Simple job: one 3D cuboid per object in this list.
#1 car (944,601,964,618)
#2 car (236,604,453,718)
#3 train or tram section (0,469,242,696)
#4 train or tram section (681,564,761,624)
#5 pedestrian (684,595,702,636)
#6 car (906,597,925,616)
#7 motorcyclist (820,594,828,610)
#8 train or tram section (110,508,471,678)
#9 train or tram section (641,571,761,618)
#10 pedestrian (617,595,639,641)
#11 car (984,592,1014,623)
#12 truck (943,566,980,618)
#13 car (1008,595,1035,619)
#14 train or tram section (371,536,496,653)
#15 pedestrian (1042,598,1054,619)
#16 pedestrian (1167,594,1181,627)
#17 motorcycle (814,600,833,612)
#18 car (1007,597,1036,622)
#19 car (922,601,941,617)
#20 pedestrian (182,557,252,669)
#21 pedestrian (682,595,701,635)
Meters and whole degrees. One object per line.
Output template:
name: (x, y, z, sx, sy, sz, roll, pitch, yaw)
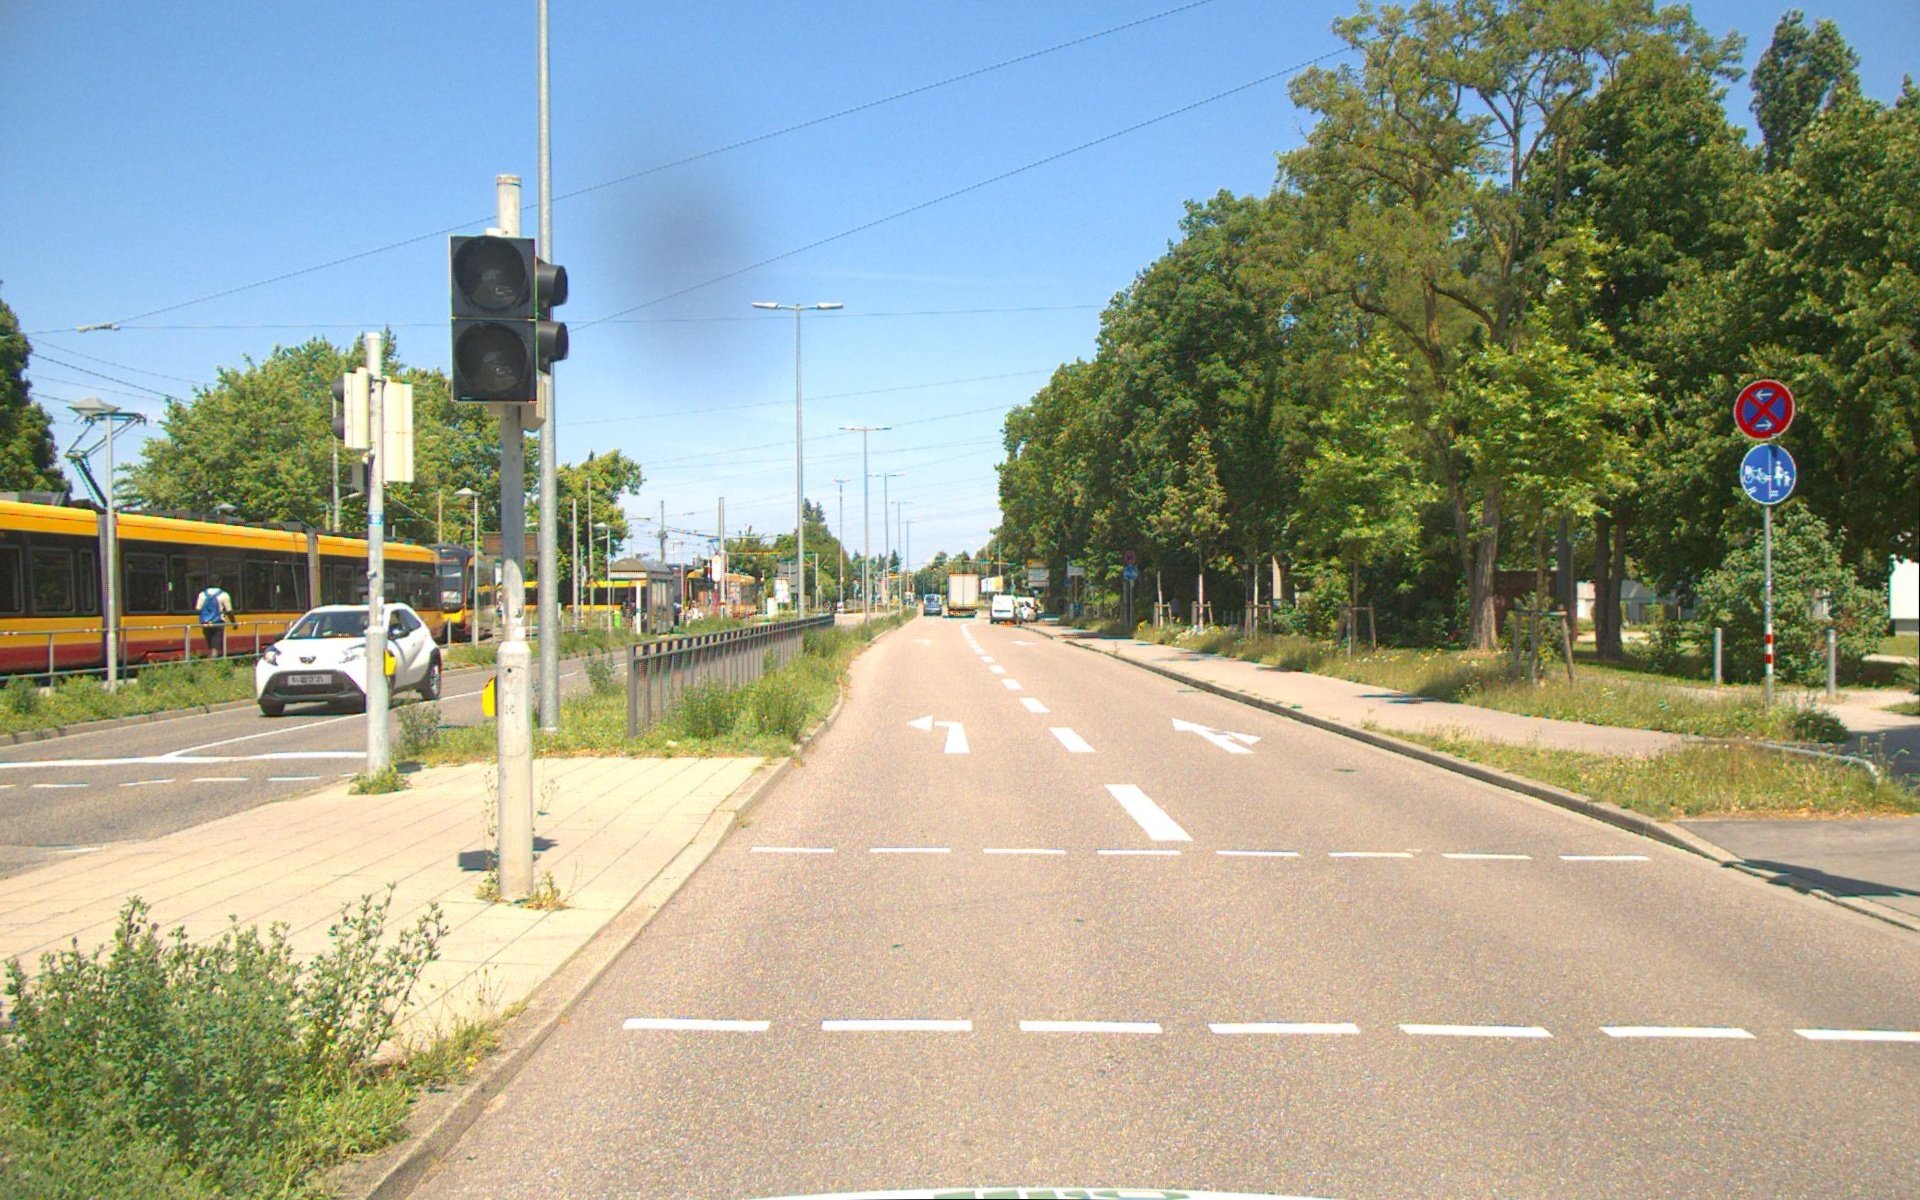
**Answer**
car: (-0.583, 0.871, 153.552, 1.774, 1.490, 3.999, 0, 0, -1)
car: (-8.938, 0.835, 24.354, 1.807, 1.521, 3.790, 0, 0, -1)
train or tram section: (-18.464, -0.297, 29.771, 3.150, 4.000, 18.498, 0, 0, 0)
train or tram section: (-17.142, -0.399, 121.067, 2.899, 3.815, 30.015, 0, 0, -3)
pedestrian: (-13.460, 0.771, 83.393, 0.798, 2.049, 0.938, 0, 0, -1)
car: (-4.690, 0.683, 175.042, 1.953, 2.049, 3.999, 0, 0, -1)
motorcyclist: (-16.148, 0.261, 196.649, 0.908, 1.867, 0.847, 0, 0, -12)
train or tram section: (-18.509, -0.180, 48.224, 3.150, 4.000, 18.498, 0, 0, 0)
train or tram section: (-24.151, -0.469, 150.634, 2.892, 3.856, 32.848, 0, 0, -23)
pedestrian: (-13.844, 0.746, 69.035, 0.769, 1.901, 0.817, 0, 0, -1)
car: (2.457, 0.436, 105.662, 1.743, 1.937, 3.999, 0, 0, -1)
truck: (0.076, -0.704, 146.022, 3.140, 4.435, 6.559, 0, 0, -1)
car: (4.413, 0.462, 118.822, 1.743, 1.698, 3.999, 0, 0, -1)
train or tram section: (-20.618, -0.199, 65.874, 3.160, 4.000, 18.439, 0, 0, -13)
pedestrian: (8.674, 0.795, 163.395, 1.161, 2.049, 1.213, 0, 0, -1)
pedestrian: (9.448, 0.464, 72.930, 0.591, 1.463, 0.556, 0, 0, 6)
motorcycle: (-16.233, 0.703, 196.607, 2.144, 1.431, 0.845, 0, 0, -12)
car: (4.188, 0.627, 112.456, 1.743, 1.698, 3.999, 0, 0, -1)
car: (-2.678, 0.839, 157.788, 1.774, 1.490, 3.999, 0, 0, -1)
pedestrian: (-12.582, 0.215, 28.009, 0.703, 1.808, 0.842, 4, 2, -1)
pedestrian: (-13.737, 0.774, 84.682, 0.798, 2.049, 0.938, 0, 0, -1)
